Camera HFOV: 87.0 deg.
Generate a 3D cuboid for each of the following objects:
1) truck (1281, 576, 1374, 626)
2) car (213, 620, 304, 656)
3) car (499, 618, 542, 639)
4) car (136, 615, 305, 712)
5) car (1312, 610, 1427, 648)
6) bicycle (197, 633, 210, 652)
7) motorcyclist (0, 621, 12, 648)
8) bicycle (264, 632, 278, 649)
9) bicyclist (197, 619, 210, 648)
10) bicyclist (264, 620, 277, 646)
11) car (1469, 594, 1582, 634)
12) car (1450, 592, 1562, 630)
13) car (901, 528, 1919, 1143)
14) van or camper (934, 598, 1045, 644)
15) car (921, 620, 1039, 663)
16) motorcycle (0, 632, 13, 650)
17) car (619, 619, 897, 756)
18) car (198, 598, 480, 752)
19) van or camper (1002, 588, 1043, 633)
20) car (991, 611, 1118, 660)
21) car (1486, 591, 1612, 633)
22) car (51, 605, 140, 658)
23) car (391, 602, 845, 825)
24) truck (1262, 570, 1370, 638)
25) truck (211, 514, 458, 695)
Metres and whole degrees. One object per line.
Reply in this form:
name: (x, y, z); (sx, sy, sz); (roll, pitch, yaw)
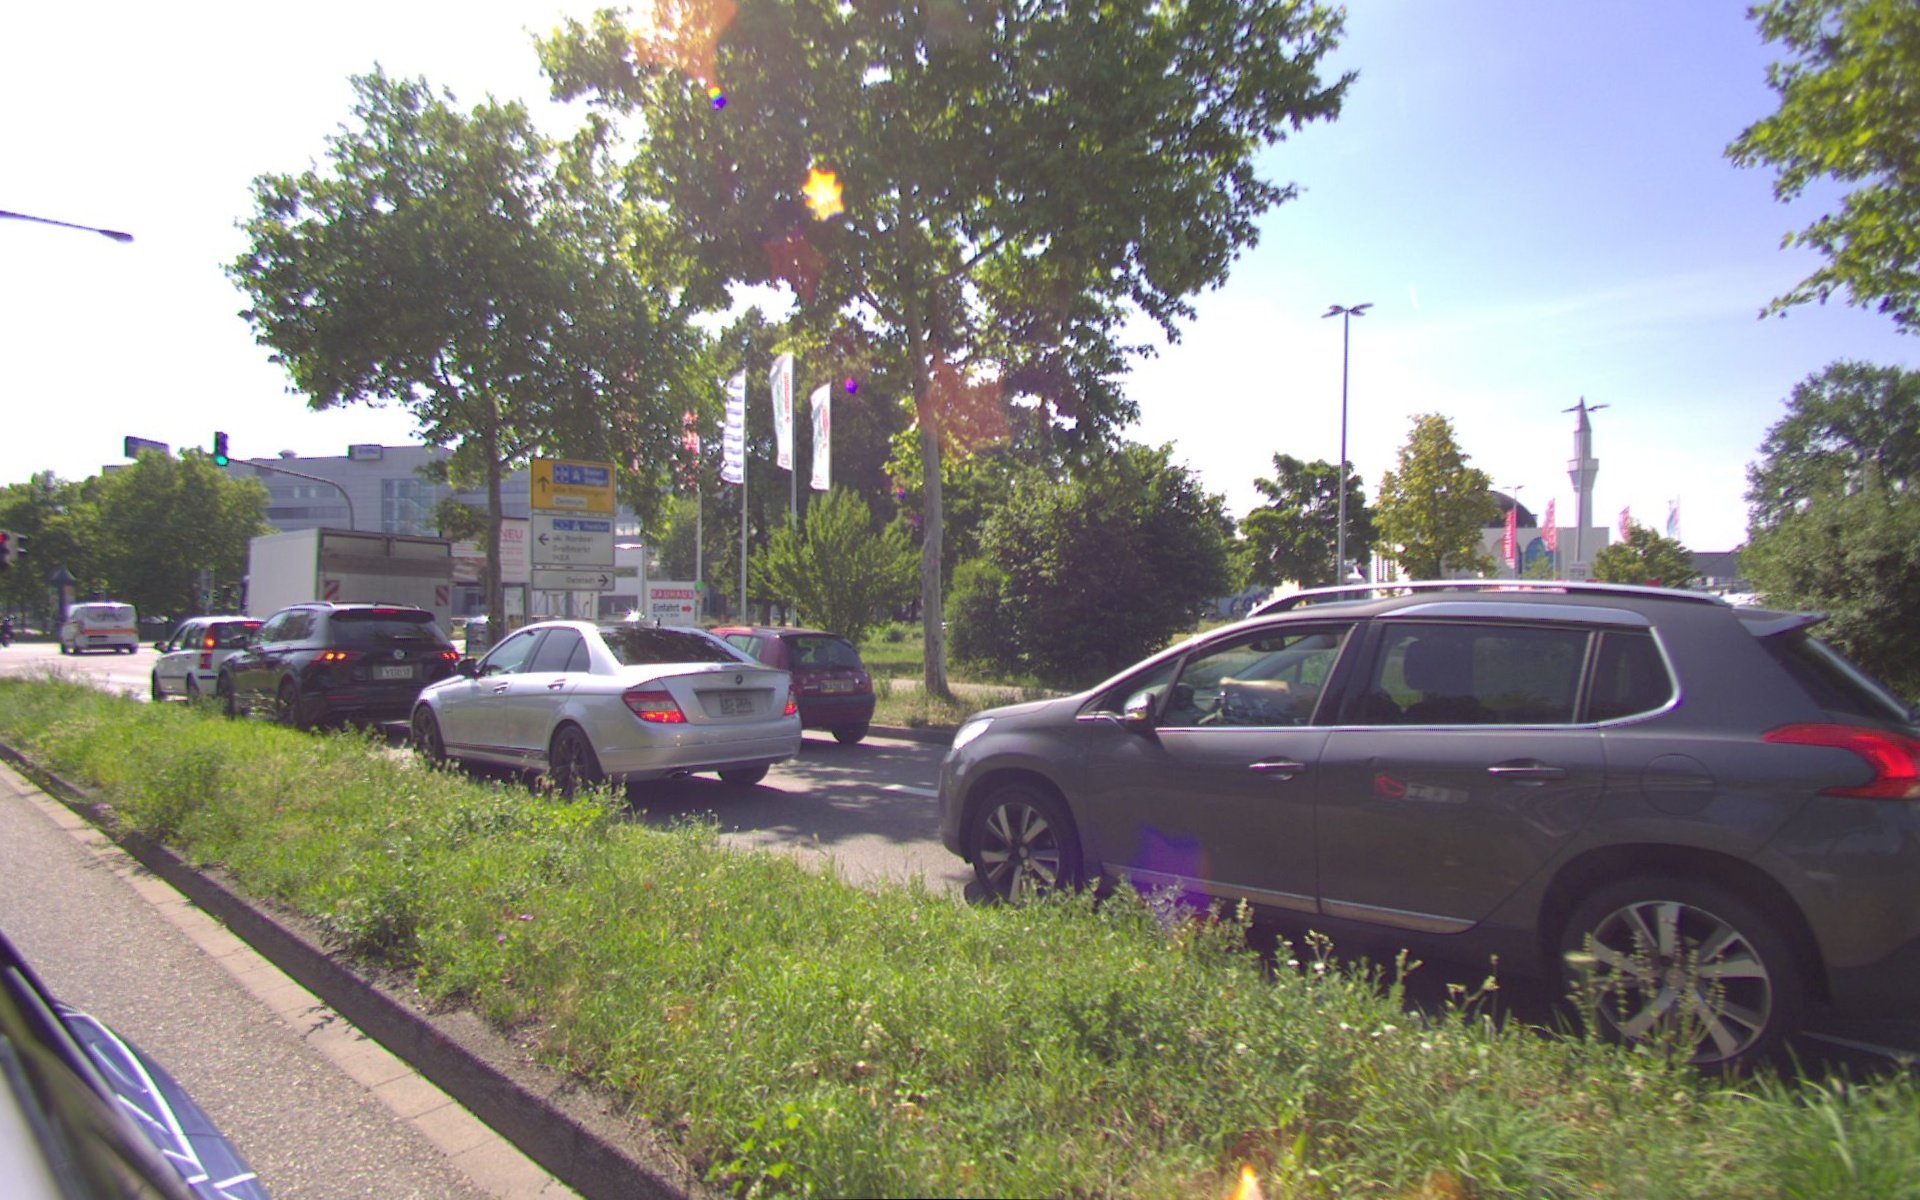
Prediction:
truck: (22.910, 0.124, 63.719); (2.889, 2.914, 9.601); (-1, -1, 4)
car: (-48.155, 2.575, 69.538); (4.963, 2.295, 2.155); (0, -1, -41)
car: (-37.726, 2.437, 87.016); (1.972, 1.712, 4.000); (-1, -1, -1)
car: (-12.851, 1.041, 17.519); (3.727, 1.488, 1.576); (-2, -2, 41)
car: (17.712, 1.240, 43.949); (4.226, 1.584, 1.819); (-1, -1, 5)
bicycle: (-40.274, 2.251, 53.864); (0.411, 0.945, 2.000); (0, -1, -41)
motorcyclist: (-54.044, 1.945, 57.087); (0.987, 1.481, 0.735); (-2, -1, 41)
bicycle: (-38.080, 2.230, 55.930); (0.428, 0.945, 1.754); (0, -1, -40)
bicyclist: (-40.244, 1.785, 53.842); (0.521, 1.503, 0.610); (0, -1, -43)
bicyclist: (-38.209, 1.817, 56.066); (0.521, 1.425, 0.610); (0, -1, -41)
car: (37.671, 0.929, 67.622); (6.056, 2.548, 2.382); (-1, -1, 9)
car: (37.923, 0.805, 70.456); (6.365, 2.548, 2.382); (-1, -1, 9)
car: (1.835, 0.665, 4.347); (4.238, 1.599, 1.671); (-2, -2, 41)
van or camper: (1.523, 1.062, 51.035); (5.453, 2.226, 2.191); (-1, -1, 8)
car: (0.723, 1.597, 39.692); (4.510, 1.584, 2.201); (-1, -1, -2)
motorcycle: (-54.096, 2.298, 57.142); (2.216, 0.999, 0.681); (-2, -1, 41)
car: (-2.592, 1.003, 12.609); (3.543, 1.463, 1.548); (-2, -3, 41)
car: (-8.208, 0.837, 13.183); (4.692, 1.659, 1.801); (0, -1, 41)
van or camper: (4.642, 0.752, 73.910); (2.679, 3.124, 6.313); (-1, 0, 6)
car: (3.127, 1.099, 32.662); (2.195, 1.425, 4.525); (-1, -1, 34)
car: (37.219, 0.776, 64.092); (6.365, 2.548, 2.382); (-1, -1, 9)
car: (-34.857, 1.281, 40.774); (5.029, 2.015, 1.955); (-2, -3, 41)
car: (-3.188, 0.818, 8.899); (4.521, 1.479, 1.778); (-2, -2, 41)
truck: (18.994, 0.294, 54.697); (3.119, 3.336, 8.915); (-1, -1, 3)
truck: (-14.180, 0.214, 22.732); (6.687, 3.498, 2.774); (-2, -3, 41)
